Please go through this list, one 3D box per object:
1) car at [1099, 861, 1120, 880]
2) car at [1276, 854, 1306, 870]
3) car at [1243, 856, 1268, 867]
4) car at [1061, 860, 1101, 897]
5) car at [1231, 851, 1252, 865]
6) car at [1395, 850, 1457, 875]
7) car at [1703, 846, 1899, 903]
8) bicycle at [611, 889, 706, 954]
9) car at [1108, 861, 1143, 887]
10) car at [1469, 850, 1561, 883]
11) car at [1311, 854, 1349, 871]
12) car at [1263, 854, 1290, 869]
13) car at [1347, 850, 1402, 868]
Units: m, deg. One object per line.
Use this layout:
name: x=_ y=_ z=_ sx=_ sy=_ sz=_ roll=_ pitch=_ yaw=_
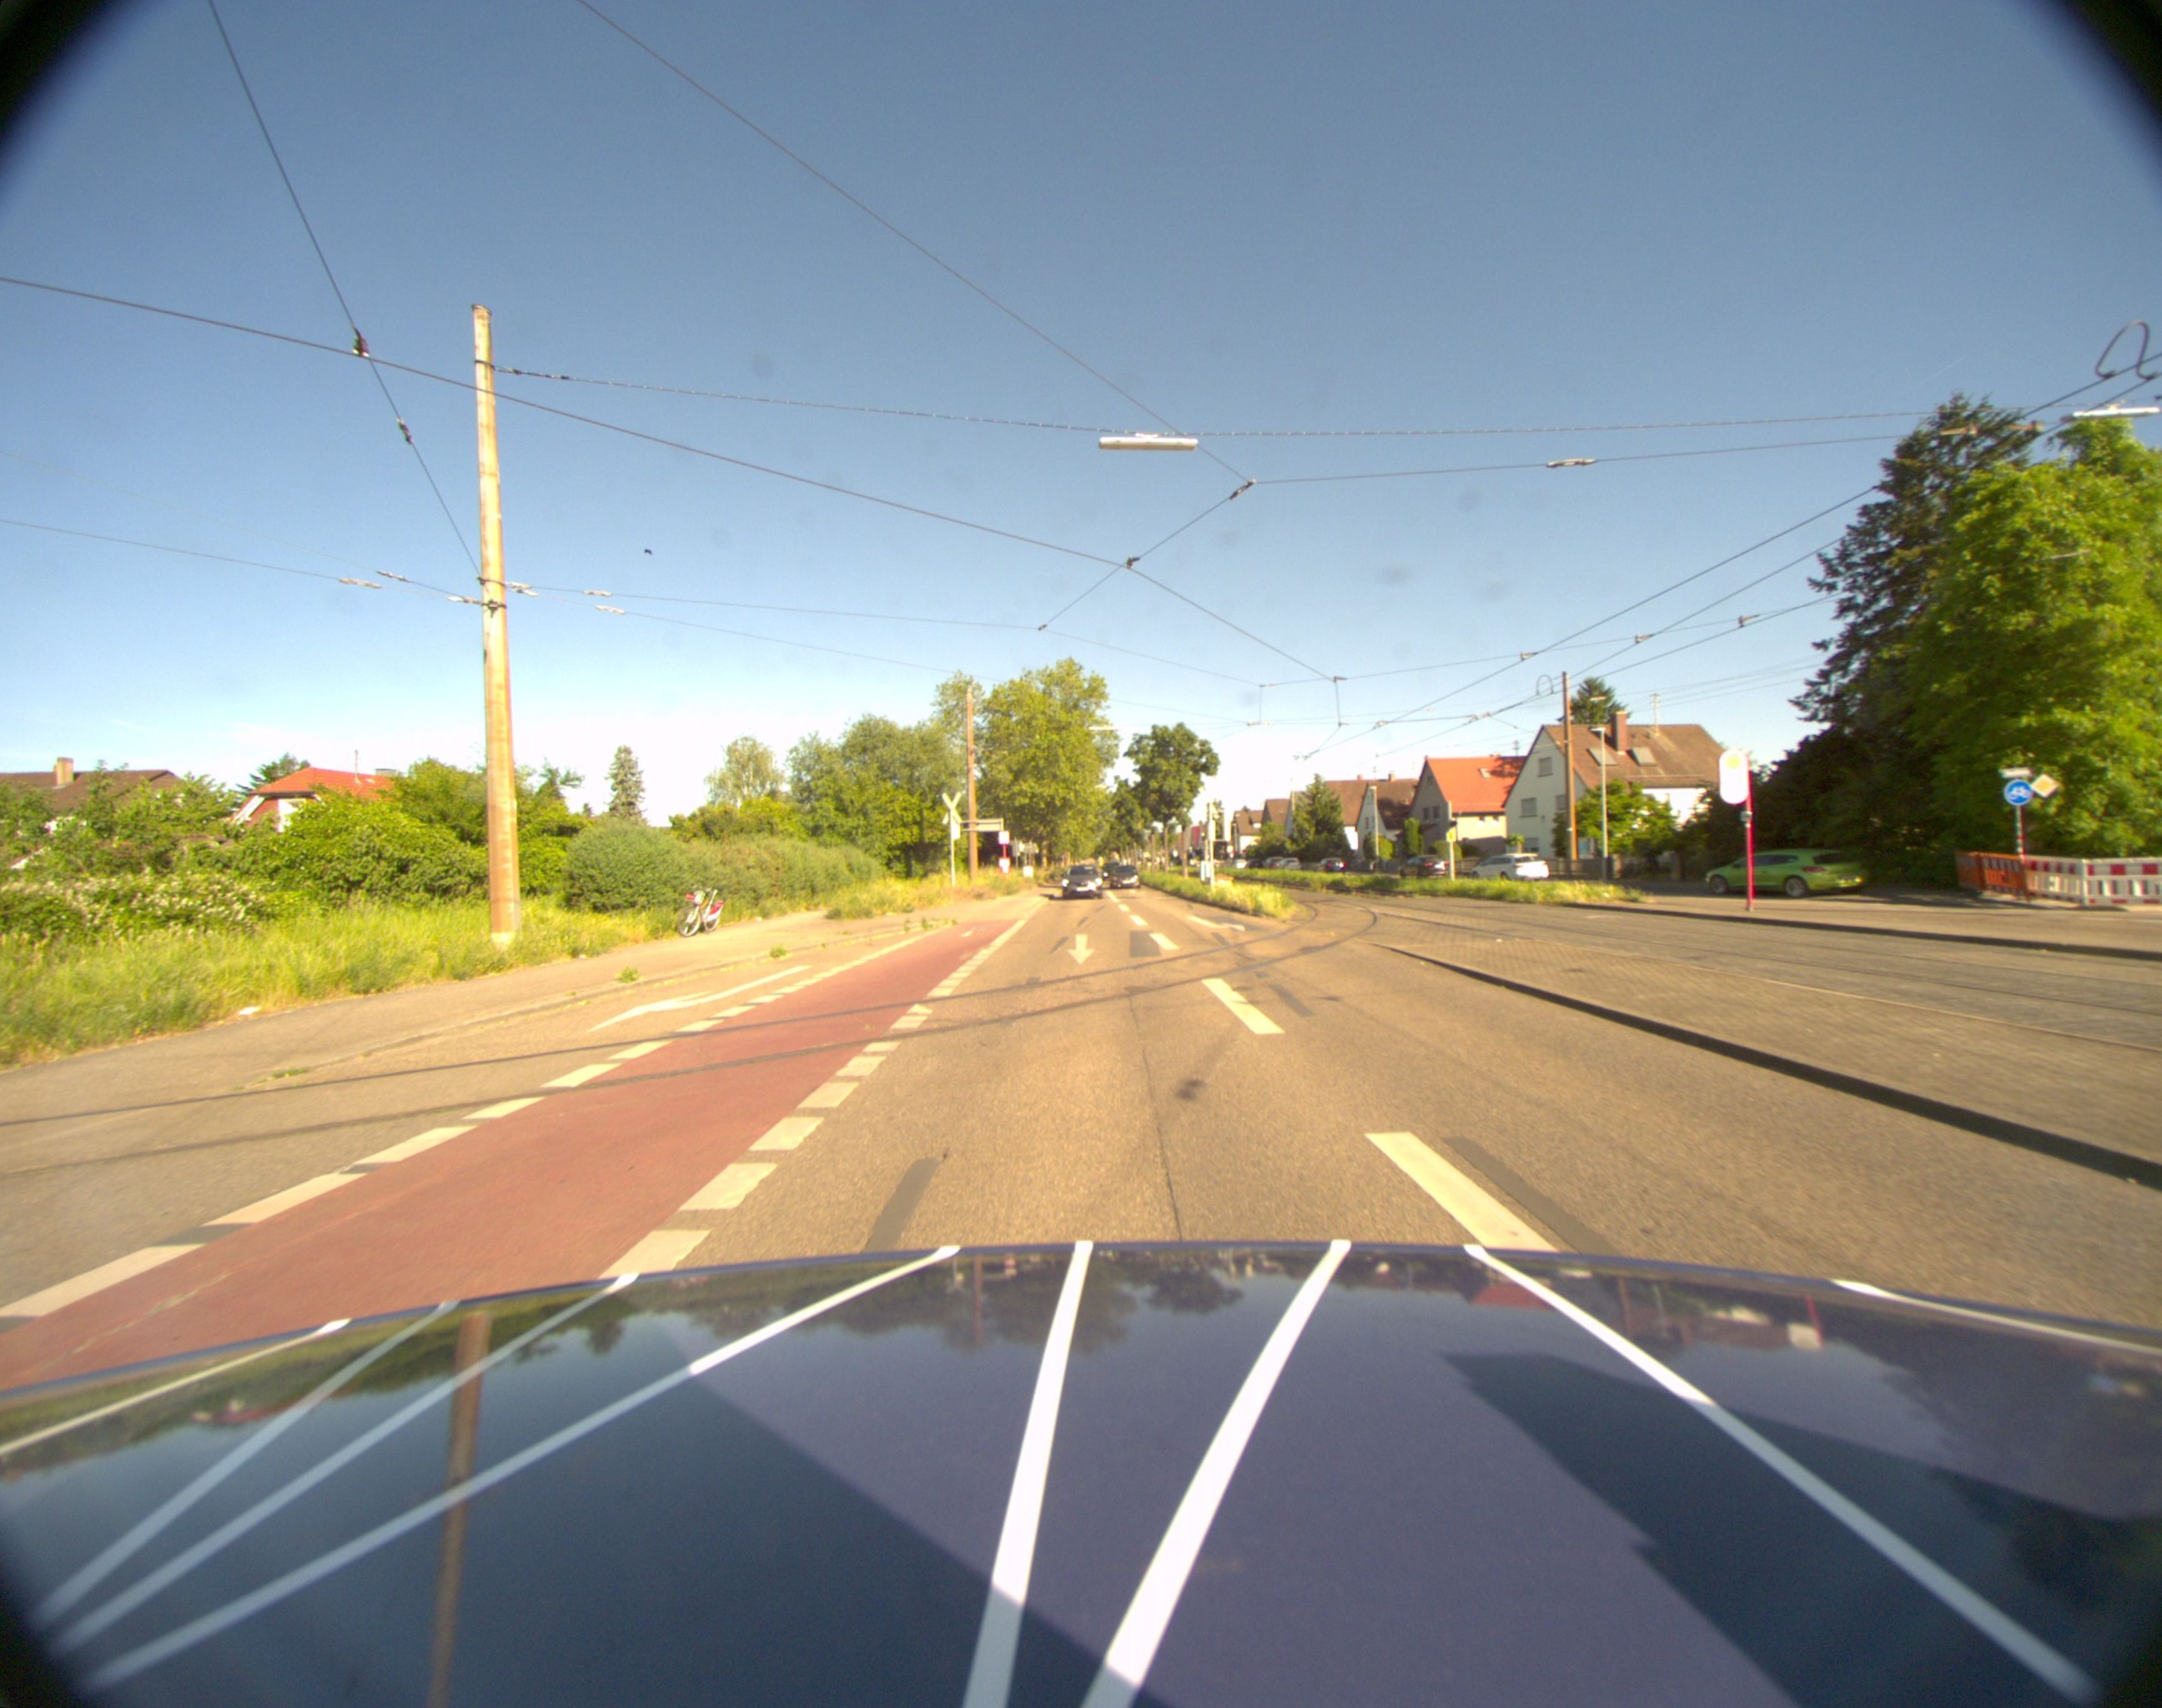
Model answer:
car: x=2.536 y=1.430 z=68.822 sx=1.779 sy=1.620 sz=4.288 roll=-1 pitch=0 yaw=1
car: x=22.358 y=0.844 z=81.089 sx=1.888 sy=1.463 sz=4.839 roll=-3 pitch=0 yaw=1
car: x=22.445 y=0.964 z=97.845 sx=1.998 sy=1.333 sz=4.982 roll=-3 pitch=0 yaw=1
car: x=0.004 y=1.084 z=34.661 sx=1.673 sy=1.529 sz=3.586 roll=-2 pitch=0 yaw=0
car: x=22.510 y=0.582 z=106.696 sx=1.998 sy=1.852 sz=4.584 roll=-2 pitch=0 yaw=1
car: x=21.806 y=0.507 z=48.268 sx=1.912 sy=1.457 sz=4.441 roll=-3 pitch=0 yaw=1
car: x=21.924 y=0.587 z=23.390 sx=1.999 sy=1.492 sz=4.067 roll=-3 pitch=0 yaw=-4
bicycle: x=-8.429 y=1.318 z=15.274 sx=0.366 sy=1.128 sz=2.097 roll=-1 pitch=0 yaw=12
car: x=2.699 y=1.192 z=46.547 sx=1.780 sy=1.441 sz=4.333 roll=-2 pitch=0 yaw=-1
car: x=21.775 y=0.590 z=38.359 sx=1.888 sy=1.464 sz=4.614 roll=-3 pitch=0 yaw=-1
car: x=21.851 y=0.719 z=66.914 sx=1.998 sy=1.363 sz=4.310 roll=-2 pitch=0 yaw=1
car: x=22.127 y=0.808 z=86.145 sx=1.888 sy=1.552 sz=4.537 roll=-3 pitch=0 yaw=1
car: x=27.970 y=0.474 z=72.521 sx=4.488 sy=1.462 sz=1.748 roll=-4 pitch=0 yaw=-1
